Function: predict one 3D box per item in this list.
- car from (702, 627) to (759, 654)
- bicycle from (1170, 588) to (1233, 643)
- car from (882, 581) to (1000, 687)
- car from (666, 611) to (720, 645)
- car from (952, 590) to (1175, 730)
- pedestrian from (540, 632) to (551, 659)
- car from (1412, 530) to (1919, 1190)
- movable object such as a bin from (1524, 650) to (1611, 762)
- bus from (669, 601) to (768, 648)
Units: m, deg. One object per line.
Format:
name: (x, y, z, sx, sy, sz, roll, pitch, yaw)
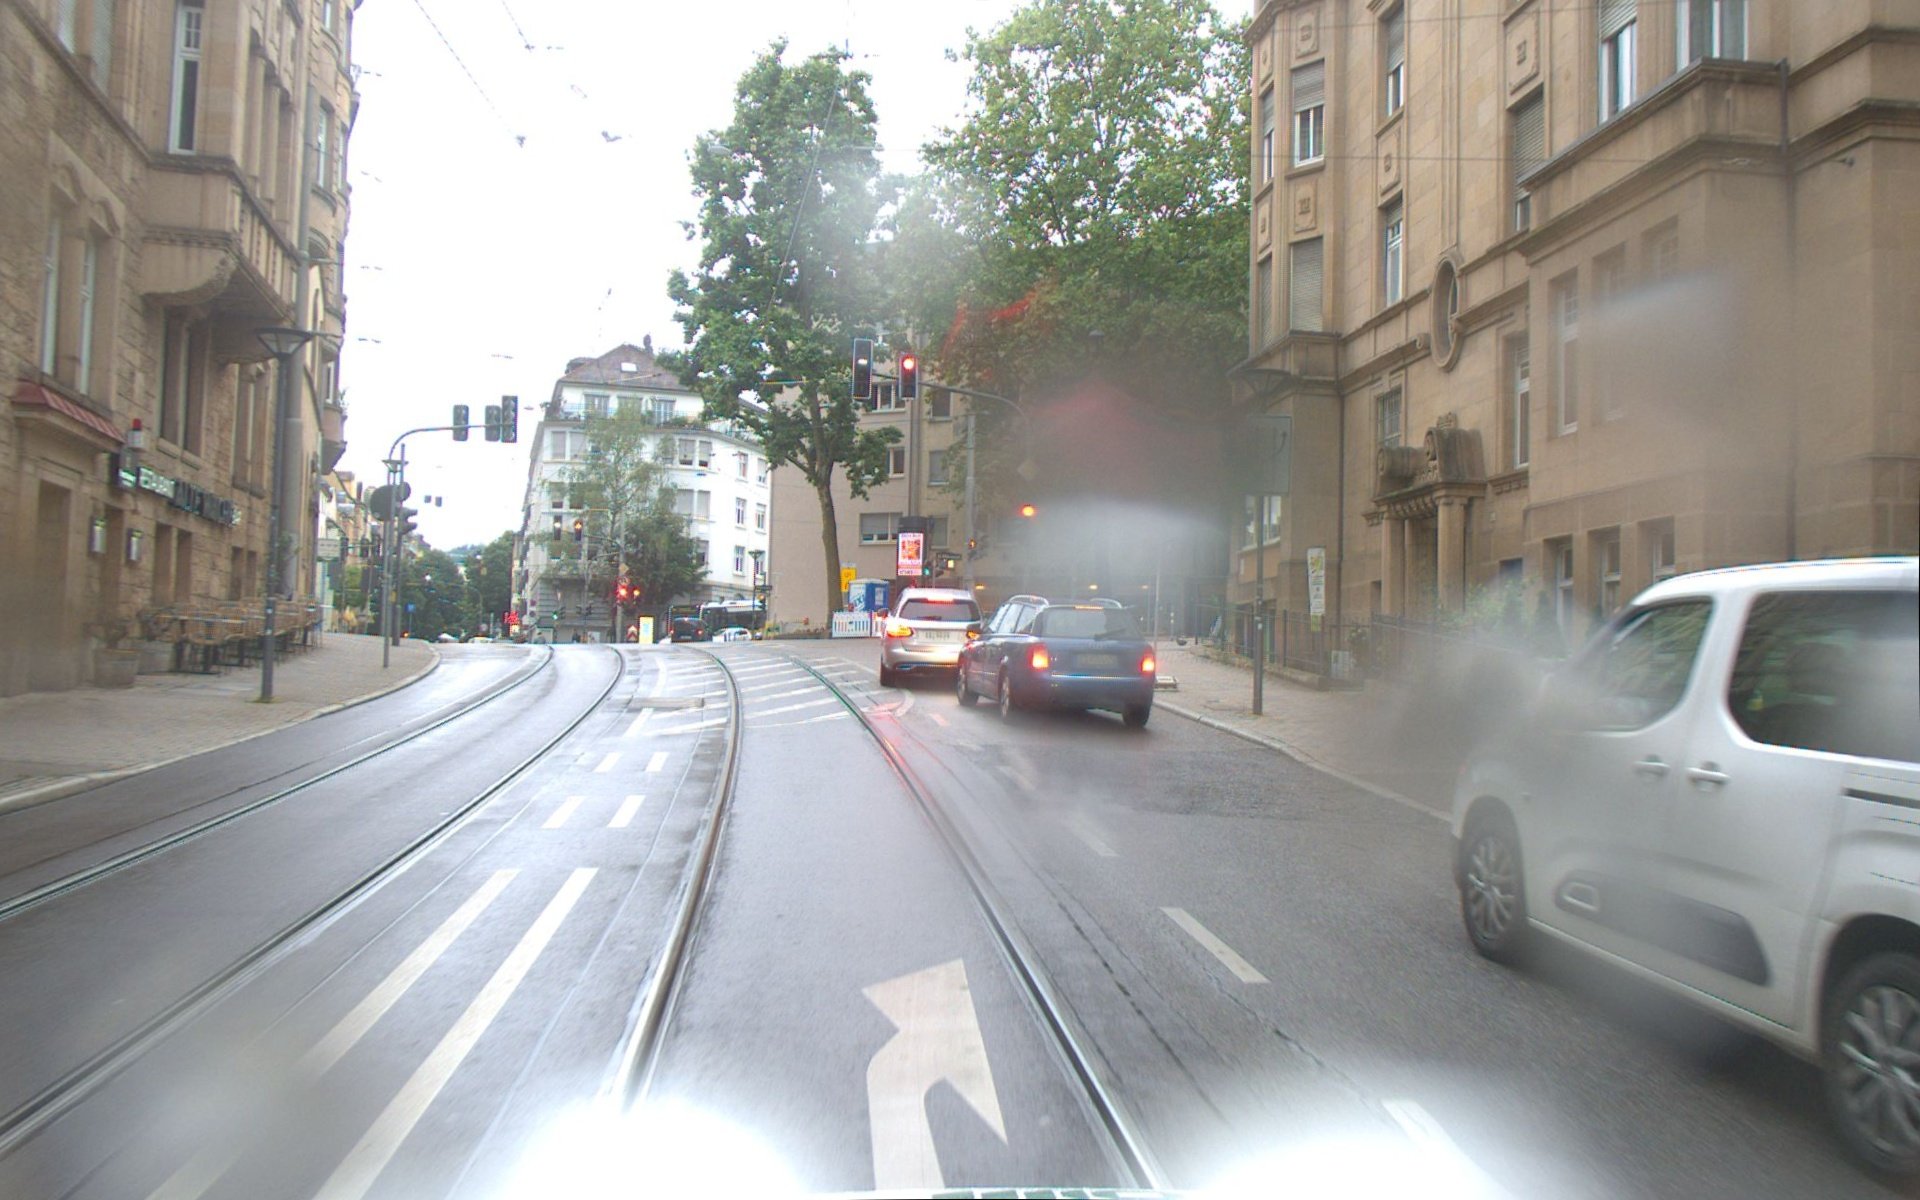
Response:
car: (-14.282, 2.515, 103.057, 1.757, 1.536, 4.000, 1, 1, 22)
bicycle: (5.330, 0.335, 36.480, 1.276, 1.194, 0.525, -1, 1, -8)
car: (-0.358, 0.473, 25.972, 1.676, 1.481, 3.551, 2, 1, -3)
car: (-13.219, 1.389, 82.074, 1.757, 1.536, 4.002, -1, 0, 3)
car: (1.140, 0.652, 20.166, 1.680, 1.440, 4.025, 2, 1, -12)
pedestrian: (-26.281, 2.891, 104.821, 0.637, 1.690, 0.647, 2, 0, -16)
car: (3.385, 0.741, 6.149, 1.763, 1.795, 4.458, 3, 0, -5)
movable object such as a bin: (6.041, 1.046, 16.455, 0.527, 1.044, 0.603, 5, -1, -7)
bus: (-15.812, 1.550, 108.962, 2.795, 2.911, 8.737, 1, 1, 18)
